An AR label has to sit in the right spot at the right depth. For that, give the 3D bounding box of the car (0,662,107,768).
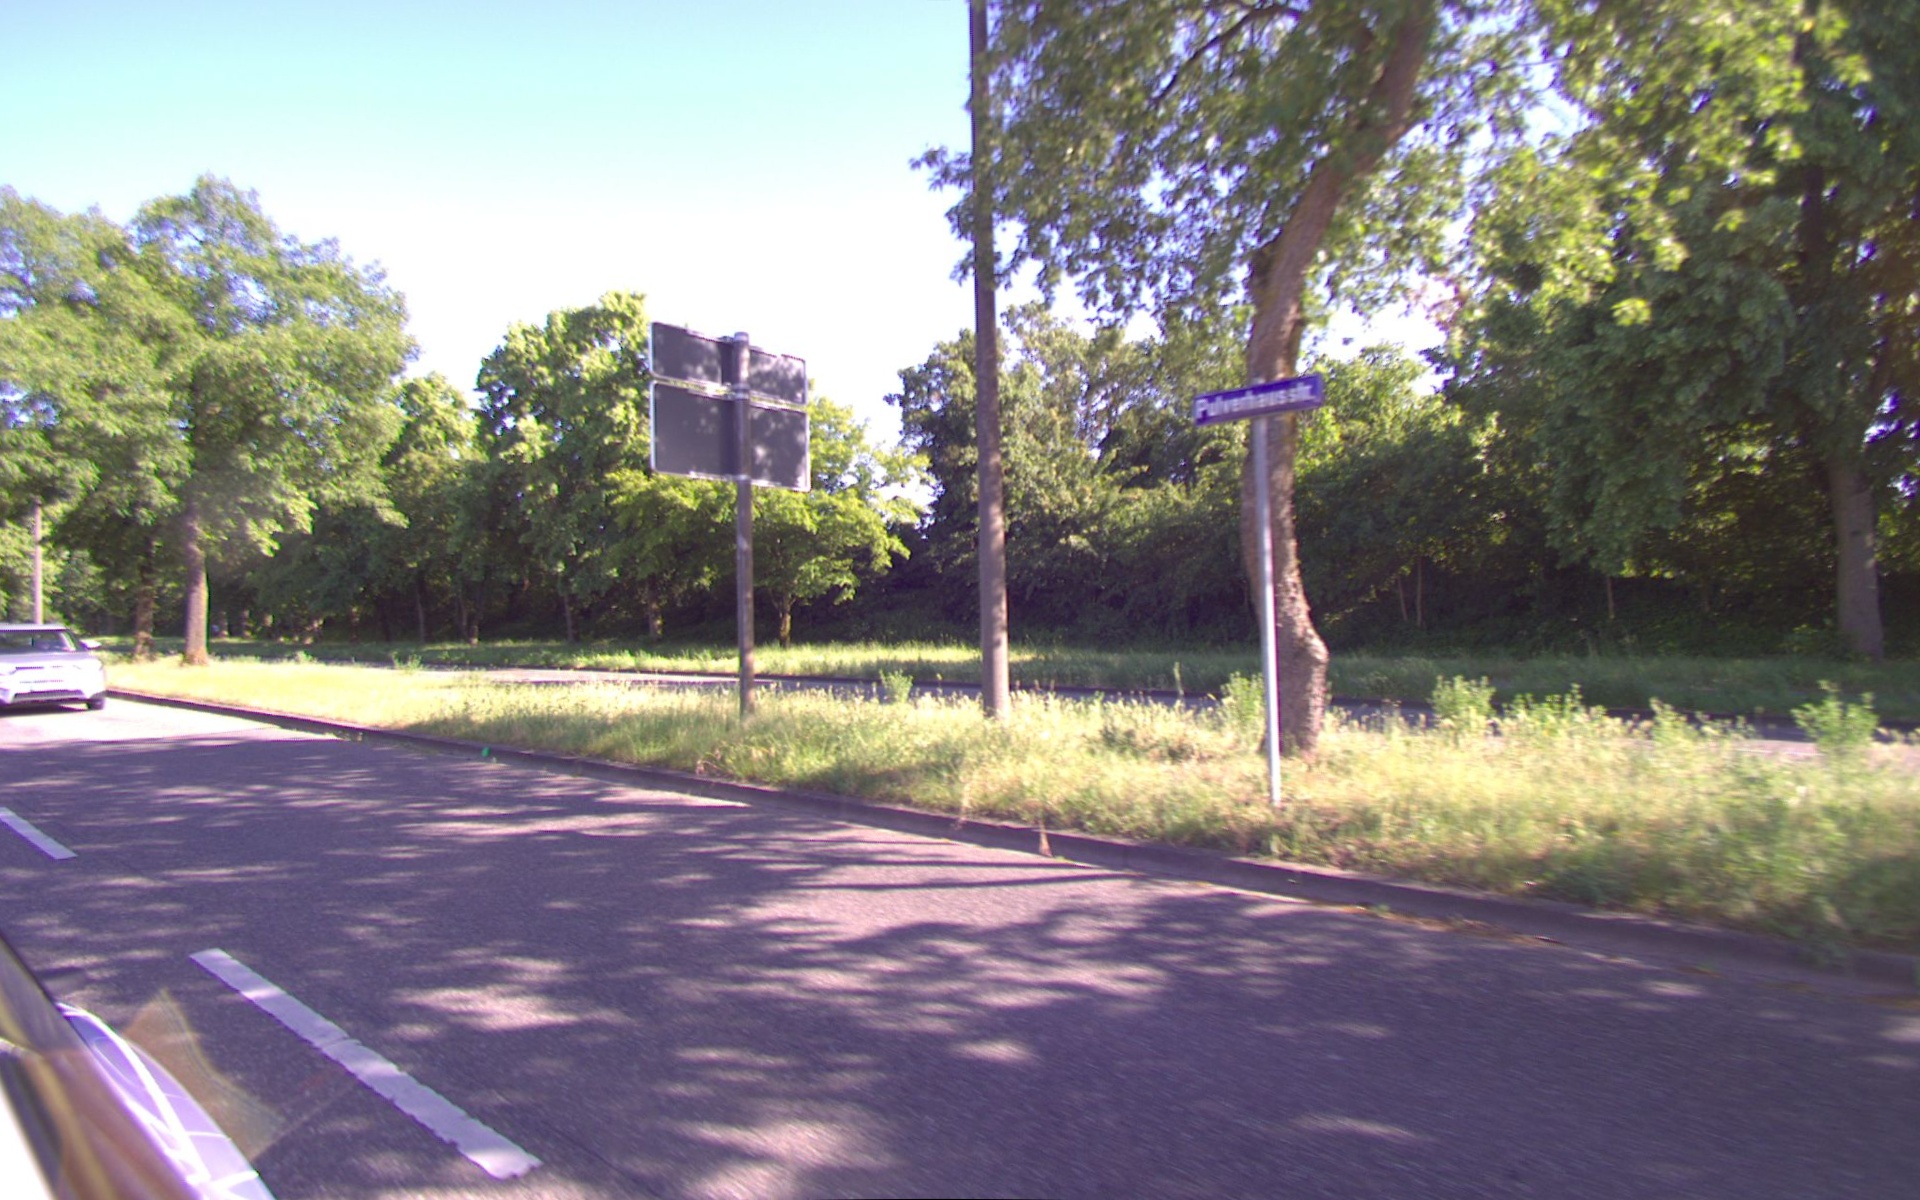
[{"bbox_3d":[-17.099,2.011,18.390,4.102,1.622,1.766,-2,-1,40],"label":"car"}]

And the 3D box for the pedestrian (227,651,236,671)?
[{"bbox_3d":[-65.184,5.449,90.569,0.552,1.671,0.541,-3,1,-39],"label":"pedestrian"}]

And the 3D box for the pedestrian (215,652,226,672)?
[{"bbox_3d":[-65.849,5.520,90.096,0.672,1.671,0.681,-5,3,-37],"label":"pedestrian"}]
